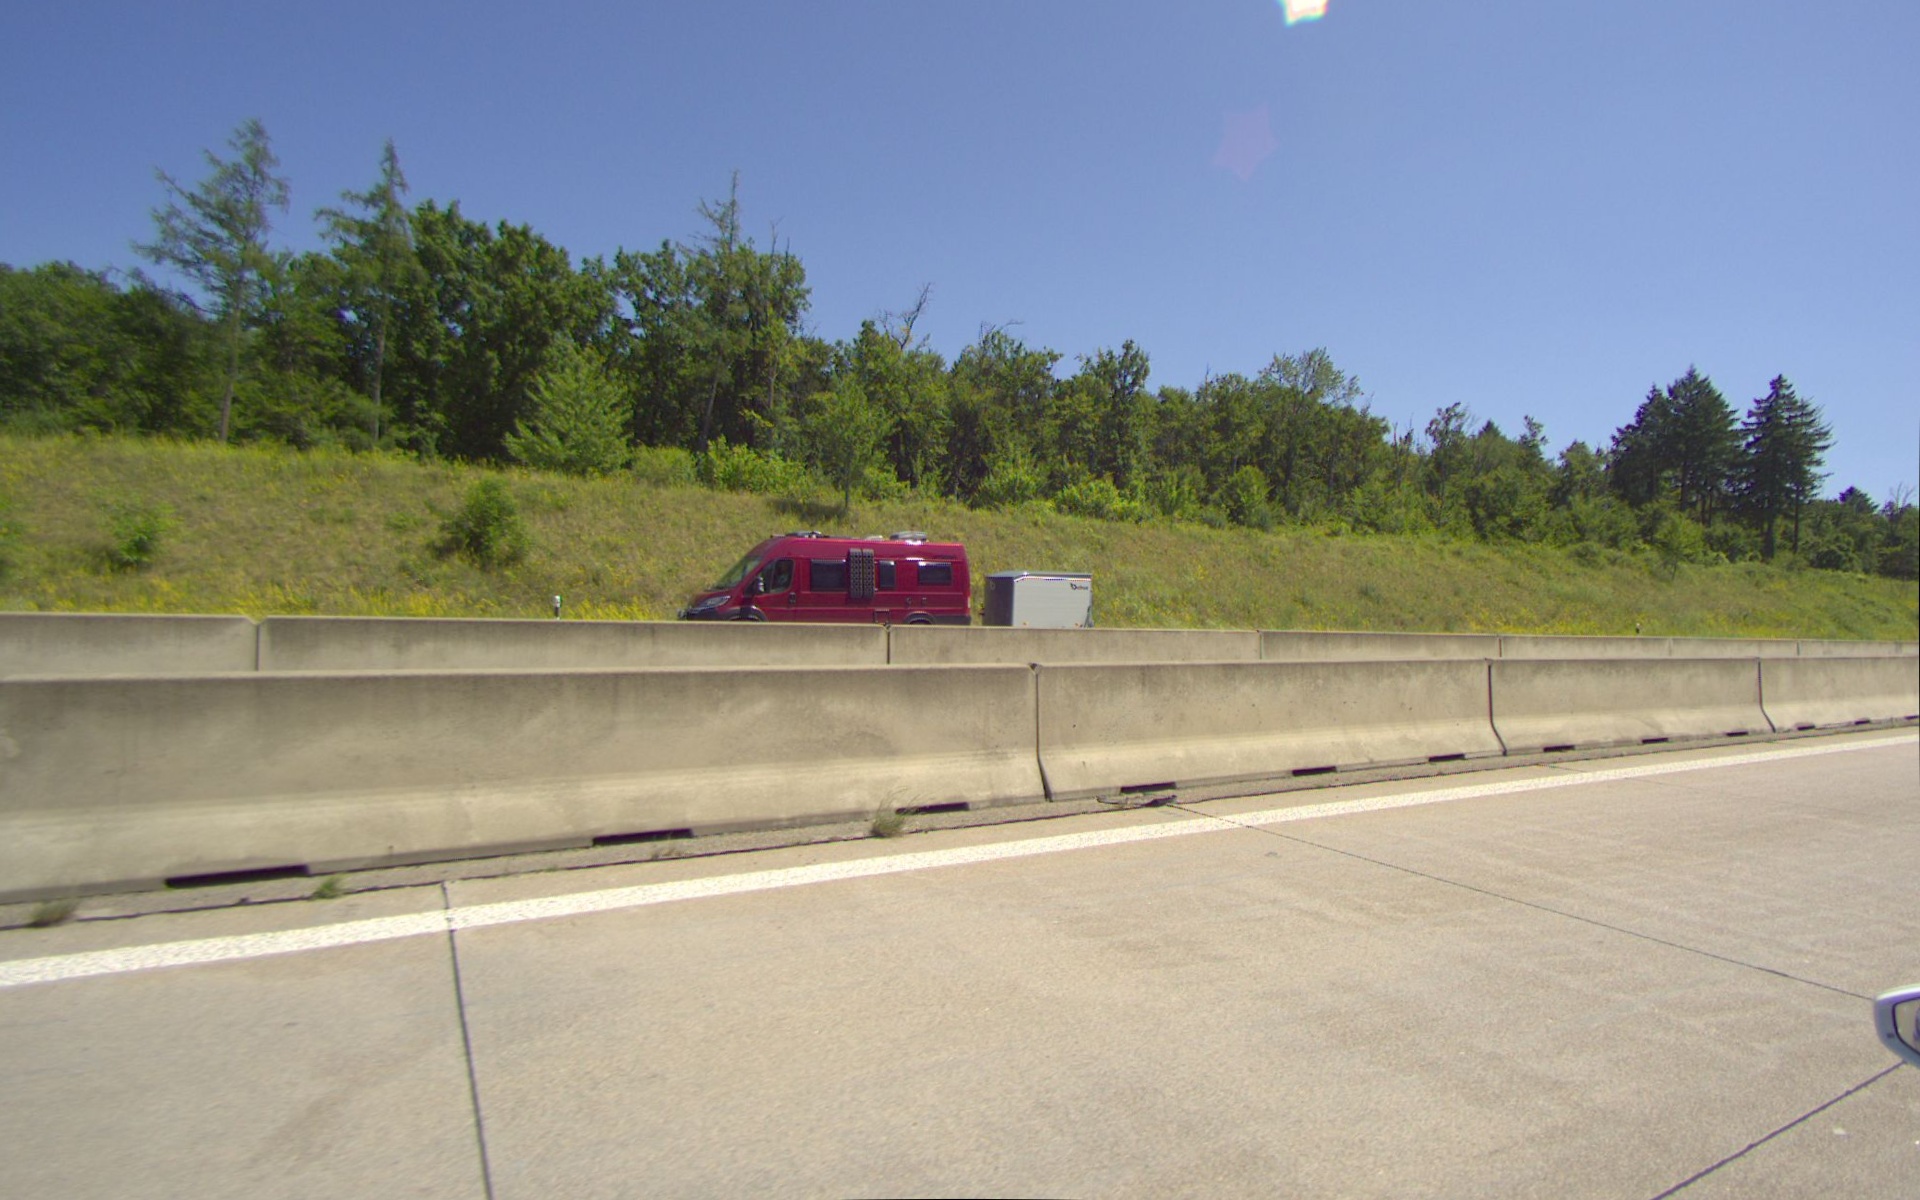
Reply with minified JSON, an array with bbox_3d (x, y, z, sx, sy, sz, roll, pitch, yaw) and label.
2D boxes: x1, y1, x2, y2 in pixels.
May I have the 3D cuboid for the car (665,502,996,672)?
[{"bbox_3d":[-2.700,-0.176,22.108,6.978,3.284,1.984,2,0,-31],"label":"car"}]

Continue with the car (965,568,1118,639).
[{"bbox_3d":[2.049,0.137,25.101,3.535,1.621,1.606,2,-2,-30],"label":"car"}]
